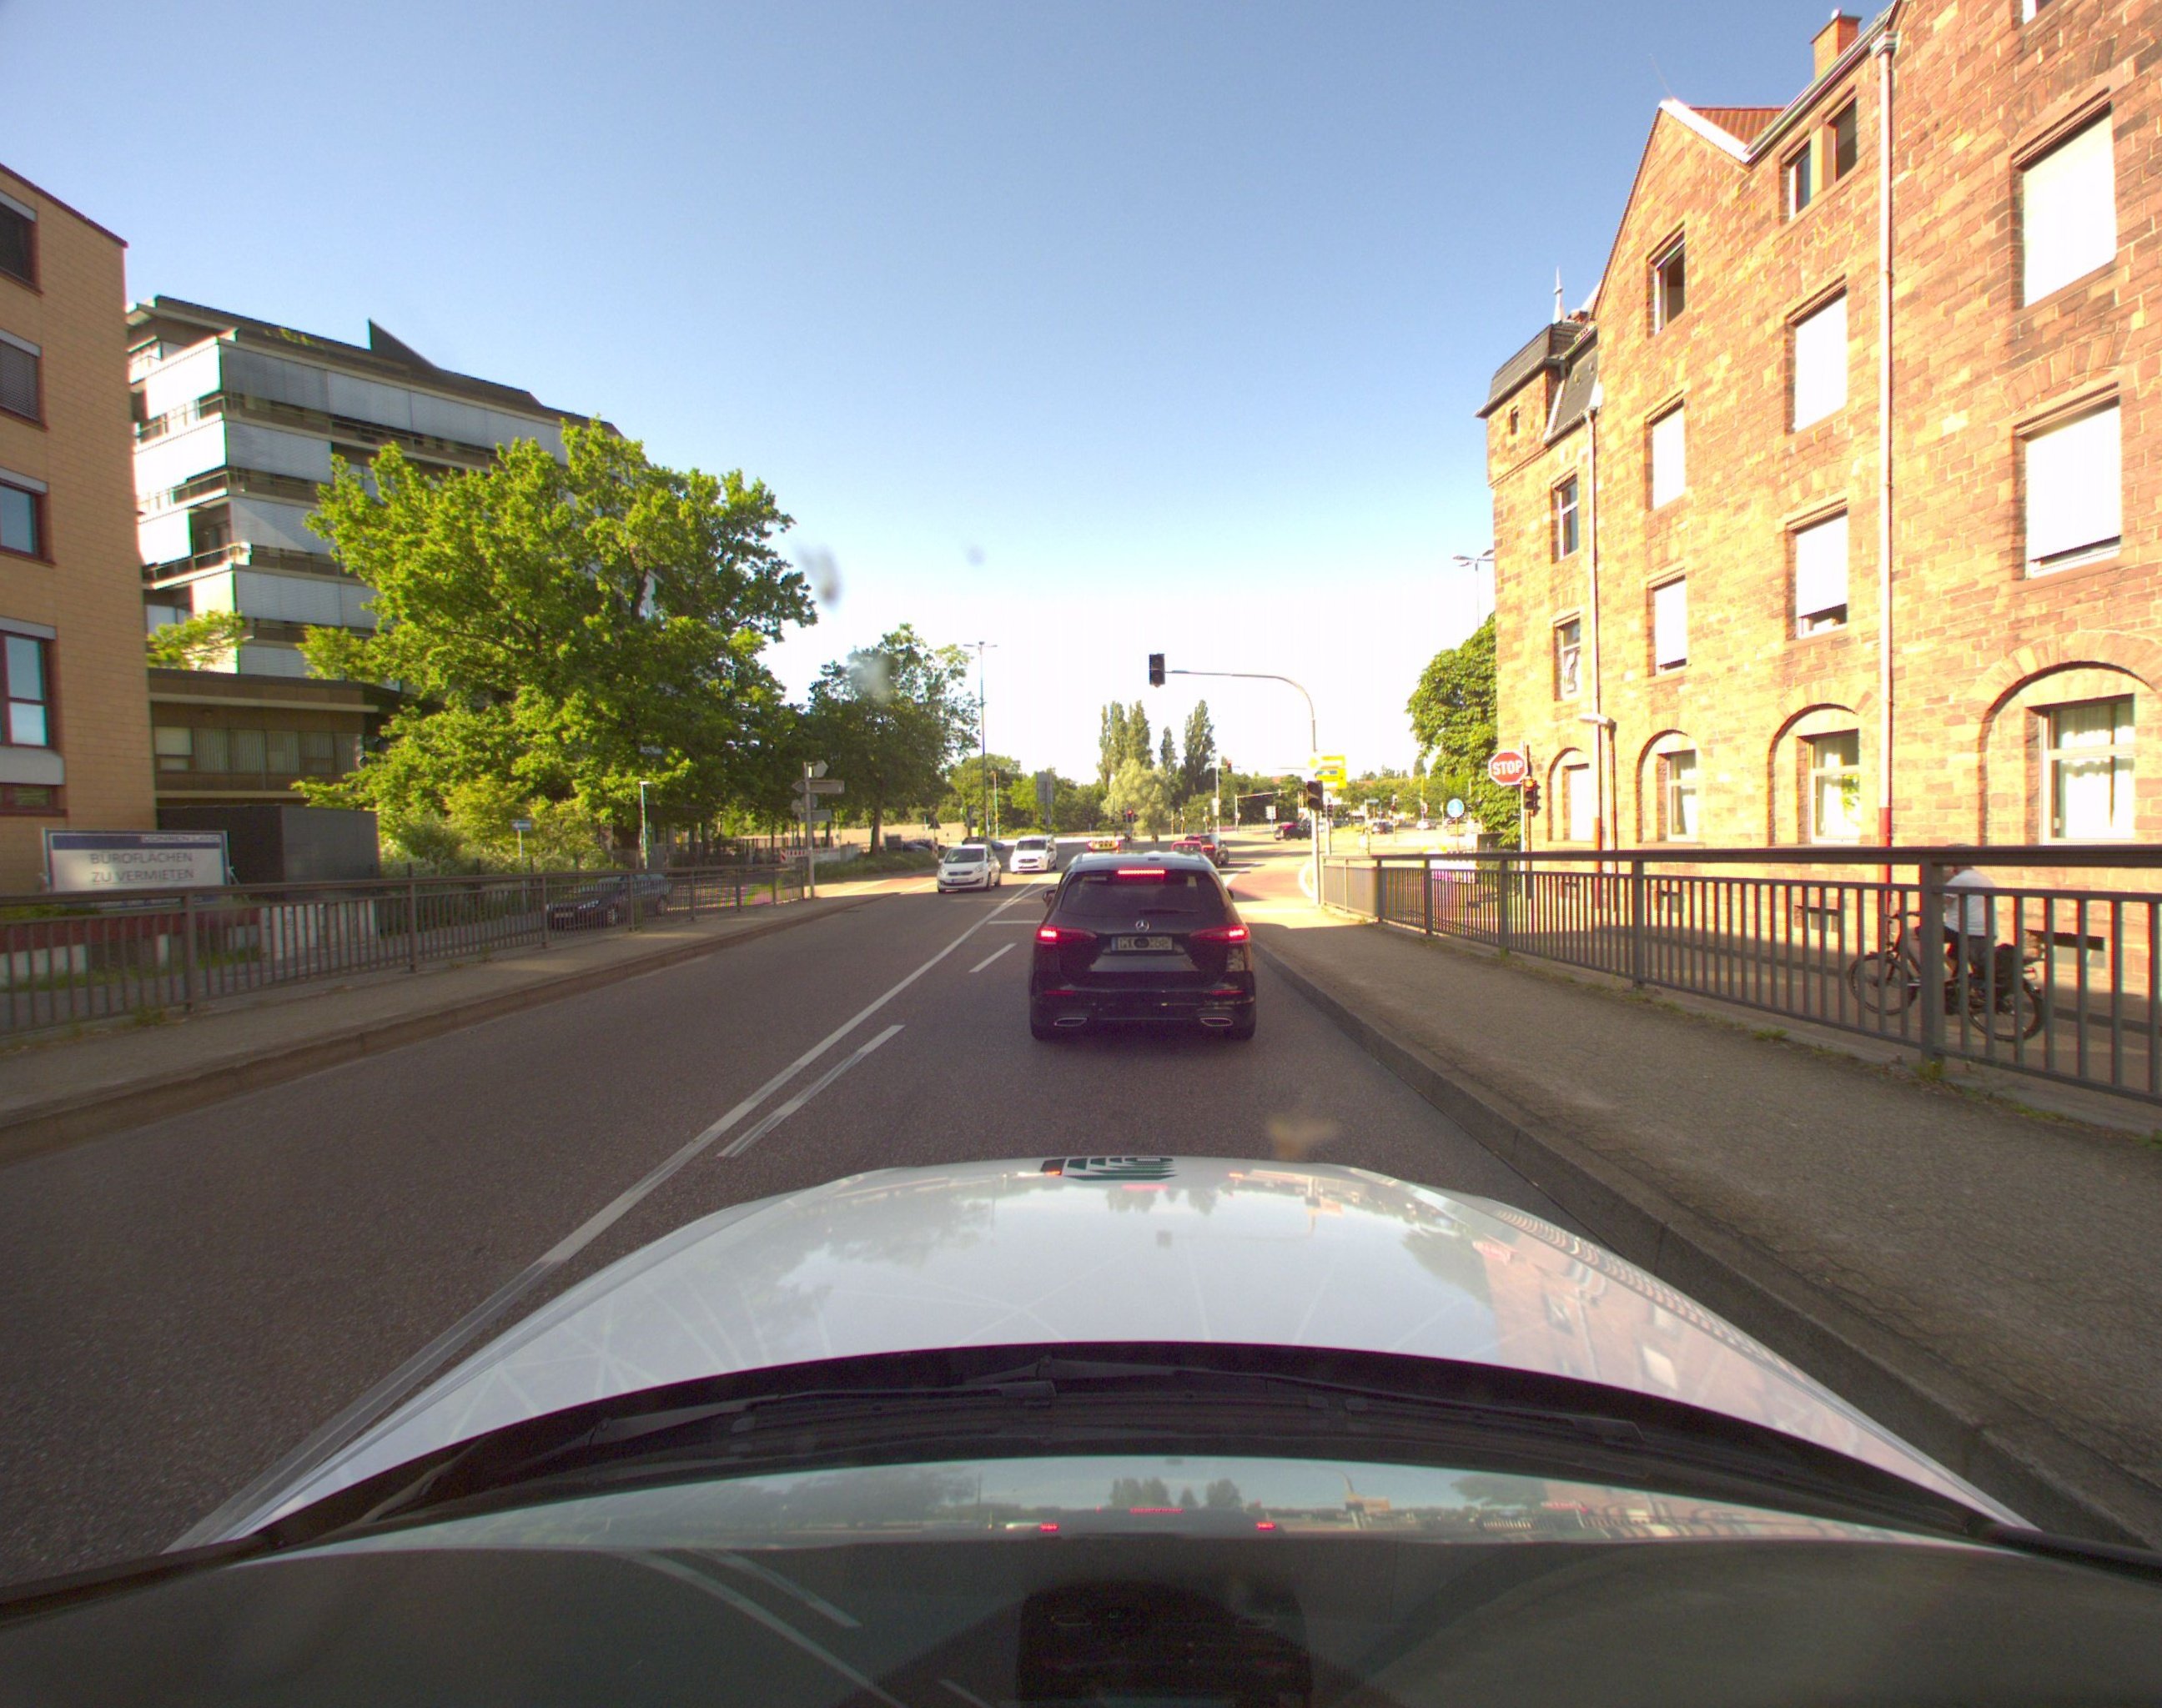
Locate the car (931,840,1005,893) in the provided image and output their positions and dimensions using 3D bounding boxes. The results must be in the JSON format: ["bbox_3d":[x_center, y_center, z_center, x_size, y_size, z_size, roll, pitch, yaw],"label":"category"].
[{"bbox_3d":[-3.907,0.386,28.791,1.771,1.635,4.003,-3,1,3],"label":"car"}]

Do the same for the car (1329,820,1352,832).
[{"bbox_3d":[37.321,-3.983,116.958,1.860,1.578,4.026,-1,2,37],"label":"car"}]

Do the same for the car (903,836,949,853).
[{"bbox_3d":[-15.810,-0.970,83.196,4.355,1.629,1.903,-1,1,28],"label":"car"}]

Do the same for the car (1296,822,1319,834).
[{"bbox_3d":[32.004,-3.687,114.981,1.860,1.578,4.026,-1,2,37],"label":"car"}]

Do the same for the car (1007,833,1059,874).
[{"bbox_3d":[-2.290,-0.093,40.295,1.909,1.794,4.904,-3,1,4],"label":"car"}]

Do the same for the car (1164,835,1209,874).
[{"bbox_3d":[4.831,-0.007,36.841,1.710,1.521,3.498,-1,3,12],"label":"car"}]

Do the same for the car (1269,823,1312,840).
[{"bbox_3d":[21.263,-2.275,82.791,4.011,1.629,1.873,-3,1,-29],"label":"car"}]

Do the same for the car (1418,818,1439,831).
[{"bbox_3d":[45.627,-3.914,106.924,1.866,1.629,4.026,-1,1,33],"label":"car"}]

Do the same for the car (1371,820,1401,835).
[{"bbox_3d":[35.197,-3.053,94.054,1.867,1.629,4.025,-1,1,42],"label":"car"}]

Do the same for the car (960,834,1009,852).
[{"bbox_3d":[-9.471,-1.065,80.186,4.358,1.629,1.901,-1,1,23],"label":"car"}]

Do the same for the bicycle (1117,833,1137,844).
[{"bbox_3d":[4.891,-1.599,86.163,1.991,1.050,0.523,-4,1,-22],"label":"bicycle"}]

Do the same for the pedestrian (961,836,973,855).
[{"bbox_3d":[-9.170,-0.709,65.637,0.700,1.525,0.746,-1,1,12],"label":"pedestrian"}]

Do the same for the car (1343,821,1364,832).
[{"bbox_3d":[41.159,-4.195,123.044,1.860,1.578,4.026,-1,2,37],"label":"car"}]

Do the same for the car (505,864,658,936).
[{"bbox_3d":[-14.340,1.261,23.692,1.845,1.692,4.001,-2,2,1],"label":"car"}]

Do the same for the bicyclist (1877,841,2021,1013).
[{"bbox_3d":[8.544,0.681,8.045,0.684,1.608,0.695,0,1,-5],"label":"bicyclist"}]

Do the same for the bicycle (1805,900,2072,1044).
[{"bbox_3d":[8.530,1.110,8.239,0.686,1.140,1.836,0,1,-5],"label":"bicycle"}]

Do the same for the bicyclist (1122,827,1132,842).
[{"bbox_3d":[4.877,-2.083,86.143,0.807,1.551,0.523,-3,1,-22],"label":"bicyclist"}]

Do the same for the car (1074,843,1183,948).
[{"bbox_3d":[0.841,0.621,14.423,1.633,1.529,3.477,-3,1,3],"label":"car"}]

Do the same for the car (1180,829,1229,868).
[{"bbox_3d":[6.477,-0.333,42.425,1.707,1.812,4.319,-2,2,19],"label":"car"}]

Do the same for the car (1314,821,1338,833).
[{"bbox_3d":[33.681,-3.731,111.844,1.860,1.578,4.026,-1,2,37],"label":"car"}]

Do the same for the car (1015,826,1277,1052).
[{"bbox_3d":[0.510,0.596,7.878,1.871,1.613,4.001,-1,0,1],"label":"car"}]

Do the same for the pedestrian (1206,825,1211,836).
[{"bbox_3d":[18.650,-3.422,118.867,0.445,1.585,0.505,-2,1,42],"label":"pedestrian"}]

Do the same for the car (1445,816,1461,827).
[{"bbox_3d":[63.505,-5.545,138.972,1.866,1.547,4.025,-1,-1,35],"label":"car"}]
